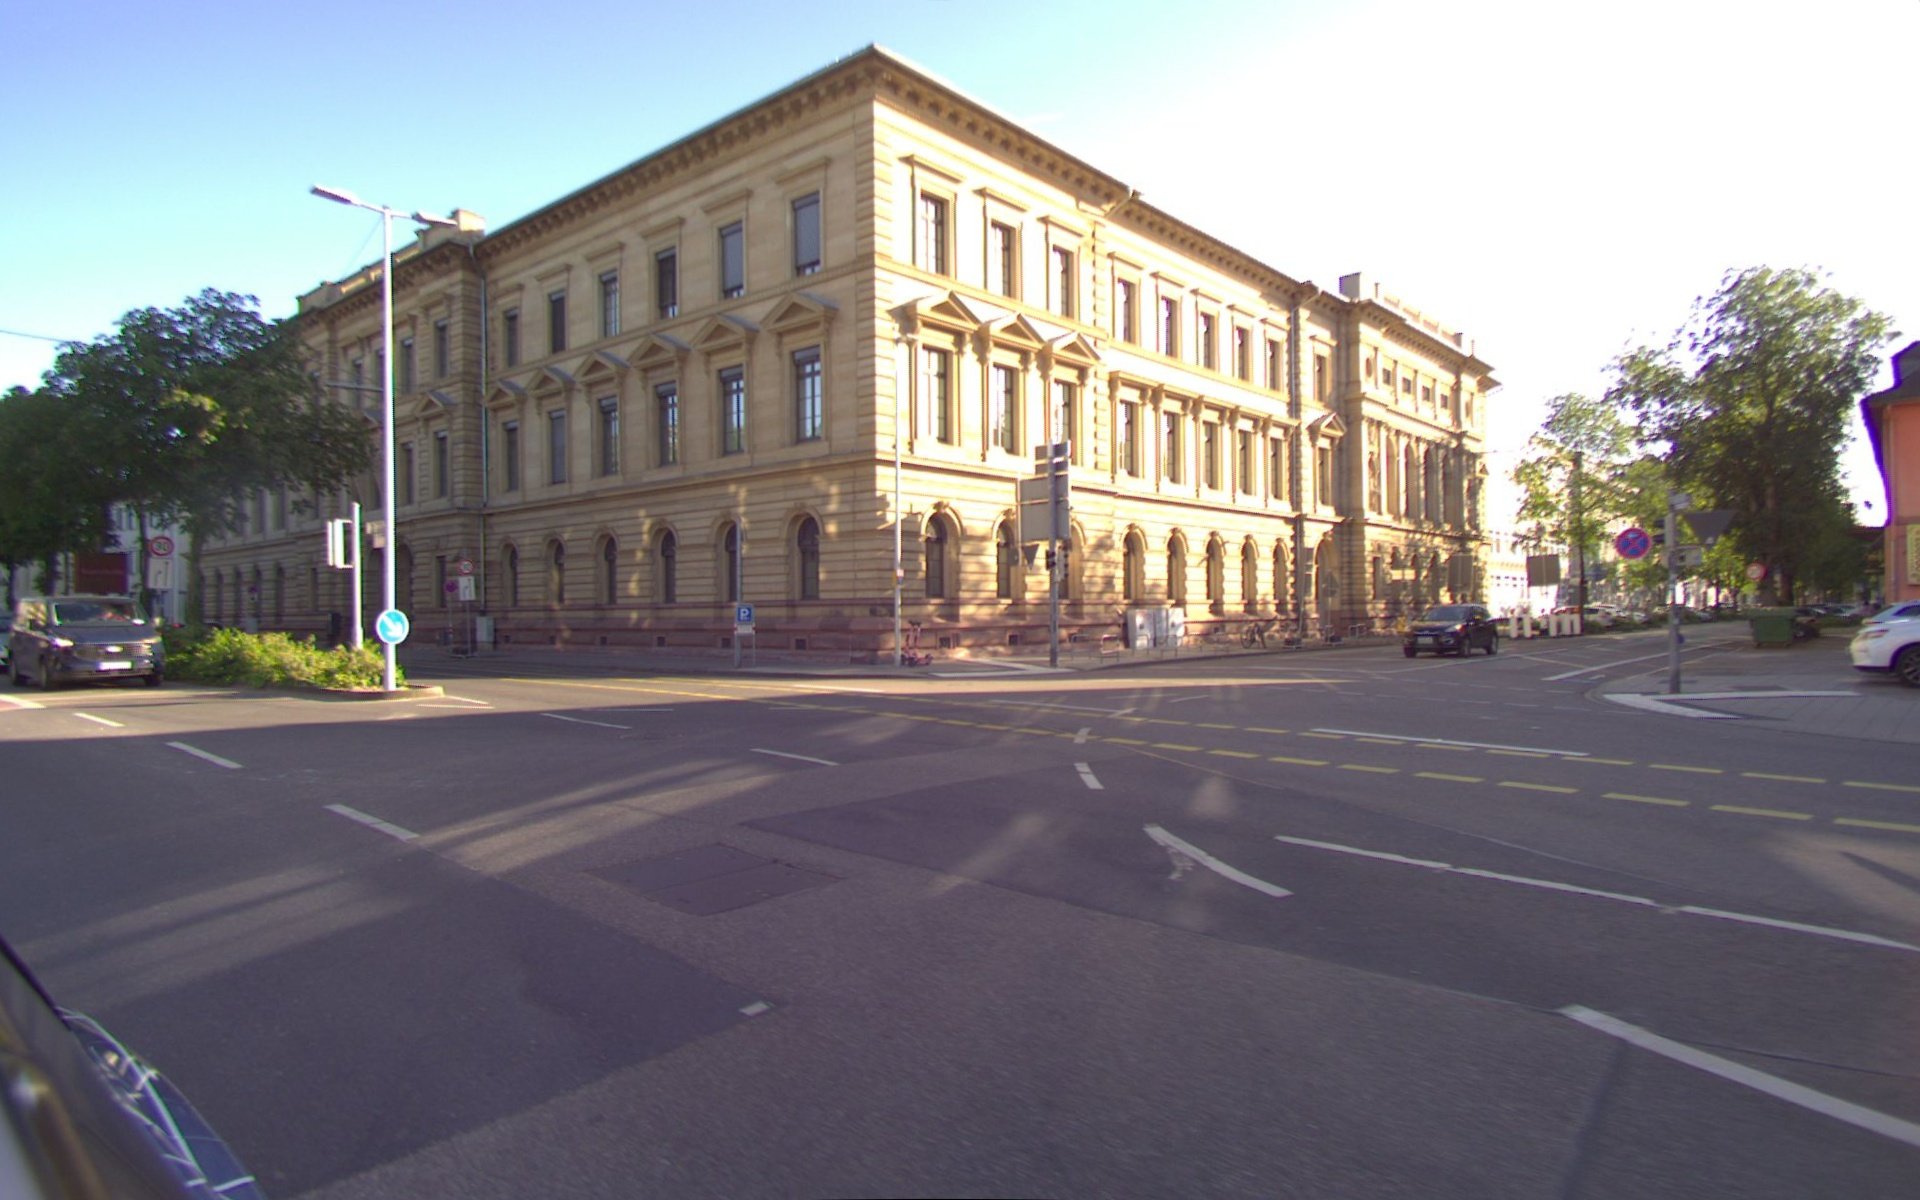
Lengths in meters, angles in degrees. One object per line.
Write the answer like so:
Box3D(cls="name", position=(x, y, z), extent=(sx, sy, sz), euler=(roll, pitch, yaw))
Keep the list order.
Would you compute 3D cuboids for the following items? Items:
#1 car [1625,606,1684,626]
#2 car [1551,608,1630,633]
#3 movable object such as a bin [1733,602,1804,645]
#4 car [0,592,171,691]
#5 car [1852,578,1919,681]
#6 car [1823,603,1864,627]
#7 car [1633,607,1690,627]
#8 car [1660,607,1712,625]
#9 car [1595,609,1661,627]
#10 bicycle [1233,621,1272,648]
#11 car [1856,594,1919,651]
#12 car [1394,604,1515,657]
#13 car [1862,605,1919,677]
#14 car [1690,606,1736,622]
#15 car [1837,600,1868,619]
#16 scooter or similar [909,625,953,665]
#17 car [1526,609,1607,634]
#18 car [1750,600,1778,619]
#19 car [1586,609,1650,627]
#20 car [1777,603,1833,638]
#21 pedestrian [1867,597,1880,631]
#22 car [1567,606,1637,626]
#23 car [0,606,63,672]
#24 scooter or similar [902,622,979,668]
Box3D(cls="car", position=(58.907, 1.385, 85.870), extent=(3.997, 1.627, 1.713), euler=(-1, -4, 41))
Box3D(cls="car", position=(42.223, 1.380, 67.813), extent=(4.193, 1.572, 1.972), euler=(-1, -4, 42))
Box3D(cls="movable object such as a bin", position=(28.306, 0.808, 35.431), extent=(1.889, 1.466, 1.097), euler=(-1, -1, 41))
Box3D(cls="car", position=(-19.259, 0.853, 22.142), extent=(5.027, 1.930, 2.048), euler=(-1, -1, 39))
Box3D(cls="car", position=(17.652, 0.456, 16.497), extent=(4.614, 1.699, 1.972), euler=(-2, -2, 42))
Box3D(cls="car", position=(56.069, 0.934, 64.196), extent=(1.704, 1.460, 3.941), euler=(-2, -1, 45))
Box3D(cls="car", position=(62.753, 1.505, 90.523), extent=(3.998, 1.708, 1.713), euler=(-1, -1, 41))
Box3D(cls="car", position=(71.283, 1.570, 99.373), extent=(3.998, 1.708, 1.713), euler=(-1, -1, 41))
Box3D(cls="car", position=(50.566, 1.375, 76.634), extent=(4.000, 1.320, 1.588), euler=(-2, -2, 43))
Box3D(cls="bicycle", position=(10.877, 1.268, 37.595), extent=(1.803, 0.974, 0.575), euler=(0, -1, -45))
Box3D(cls="car", position=(25.757, 0.544, 25.418), extent=(4.788, 1.443, 1.971), euler=(-2, -2, 44))
Box3D(cls="car", position=(15.783, 0.928, 32.217), extent=(4.618, 1.584, 2.001), euler=(0, -2, -44))
Box3D(cls="car", position=(19.091, 0.734, 18.375), extent=(4.000, 1.320, 1.588), euler=(-2, -2, 43))
Box3D(cls="car", position=(84.566, 1.572, 113.632), extent=(3.998, 1.708, 1.713), euler=(-1, -1, 41))
Box3D(cls="car", position=(70.803, 0.765, 80.262), extent=(1.703, 1.460, 3.944), euler=(-1, -1, 42))
Box3D(cls="scooter or similar", position=(-0.791, 1.227, 28.013), extent=(0.393, 1.060, 1.312), euler=(-2, -2, 43))
Box3D(cls="car", position=(39.447, 1.407, 65.884), extent=(4.257, 1.550, 1.804), euler=(-1, -4, 42))
Box3D(cls="car", position=(75.475, 0.931, 94.969), extent=(1.754, 1.740, 3.791), euler=(-2, -1, 43))
Box3D(cls="car", position=(48.825, 1.362, 75.102), extent=(3.745, 1.277, 1.556), euler=(-1, -4, 43))
Box3D(cls="car", position=(37.167, 0.871, 44.483), extent=(1.703, 1.460, 3.944), euler=(-2, -1, 42))
Box3D(cls="pedestrian", position=(49.856, 0.749, 55.226), extent=(0.492, 1.856, 0.571), euler=(-2, -1, 44))
Box3D(cls="car", position=(44.960, 1.119, 70.892), extent=(3.907, 1.295, 1.625), euler=(-1, -4, 43))
Box3D(cls="car", position=(-27.024, 1.081, 28.333), extent=(4.739, 1.763, 1.973), euler=(-2, -1, 37))
Box3D(cls="scooter or similar", position=(-0.516, 1.199, 27.196), extent=(1.998, 1.197, 0.457), euler=(0, -1, -21))
